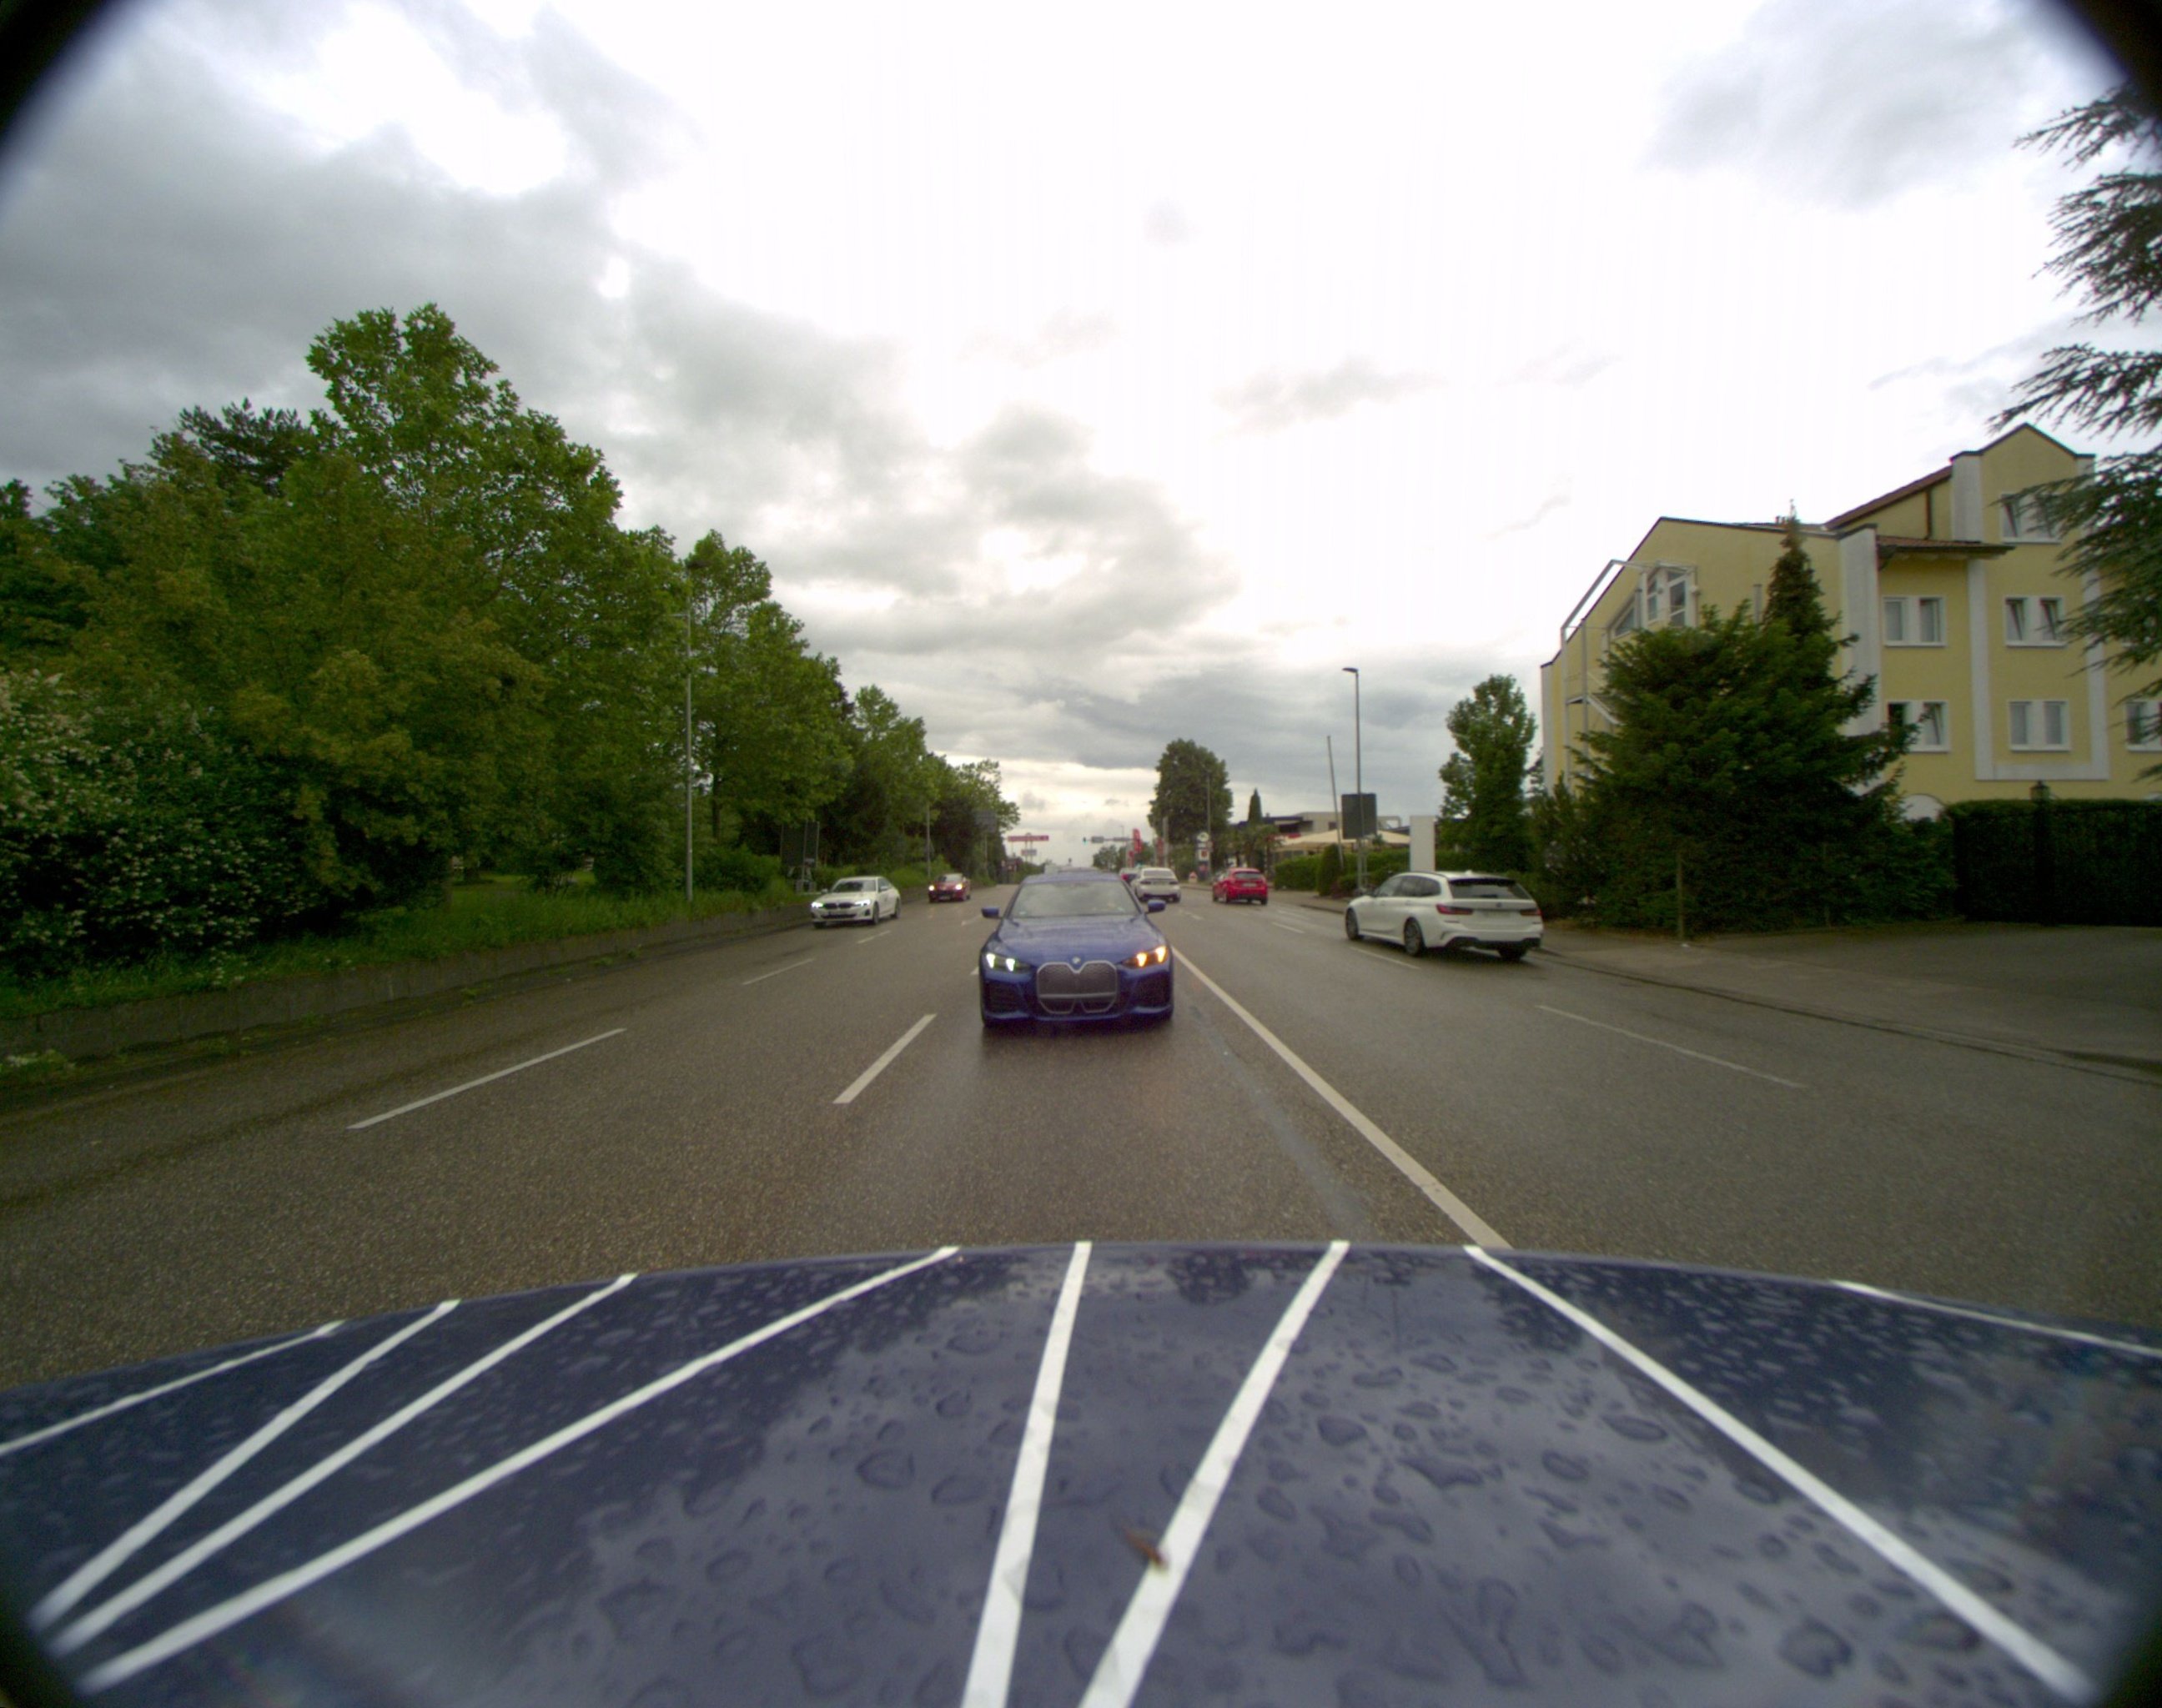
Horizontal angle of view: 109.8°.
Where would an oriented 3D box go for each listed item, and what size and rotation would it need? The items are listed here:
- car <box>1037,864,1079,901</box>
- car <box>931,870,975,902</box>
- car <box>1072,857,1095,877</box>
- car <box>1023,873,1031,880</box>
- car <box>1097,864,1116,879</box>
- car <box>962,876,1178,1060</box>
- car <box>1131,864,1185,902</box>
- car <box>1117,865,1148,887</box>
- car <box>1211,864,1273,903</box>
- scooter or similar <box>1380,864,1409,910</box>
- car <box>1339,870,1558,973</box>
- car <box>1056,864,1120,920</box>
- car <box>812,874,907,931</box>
[{"bbox_3d":[-1.027,1.313,36.229,1.807,1.543,4.000,-1,0,0],"label":"car"},{"bbox_3d":[-6.390,1.566,38.262,1.629,1.395,3.689,-2,0,-1],"label":"car"},{"bbox_3d":[0.233,1.076,63.292,1.807,1.543,4.000,-1,0,0],"label":"car"},{"bbox_3d":[-14.068,5.822,197.765,1.812,1.718,3.998,-3,1,-3],"label":"car"},{"bbox_3d":[2.674,1.832,79.229,1.764,1.418,3.780,-1,0,-1],"label":"car"},{"bbox_3d":[-0.088,1.029,8.578,1.803,1.399,4.272,-1,0,0],"label":"car"},{"bbox_3d":[3.205,1.183,32.435,1.820,1.373,4.272,-1,0,0],"label":"car"},{"bbox_3d":[3.355,1.430,50.090,1.699,1.345,3.780,1,0,0],"label":"car"},{"bbox_3d":[6.535,1.163,31.190,1.699,1.467,3.780,0,0,0],"label":"car"},{"bbox_3d":[10.087,1.044,24.508,0.505,1.398,1.882,0,0,11],"label":"scooter or similar"},{"bbox_3d":[6.291,1.065,13.664,1.790,1.451,4.432,0,0,0],"label":"car"},{"bbox_3d":[0.214,1.110,23.729,1.807,1.543,4.223,-1,-1,0],"label":"car"},{"bbox_3d":[-6.803,1.446,23.839,1.669,1.418,4.304,-2,0,0],"label":"car"}]
